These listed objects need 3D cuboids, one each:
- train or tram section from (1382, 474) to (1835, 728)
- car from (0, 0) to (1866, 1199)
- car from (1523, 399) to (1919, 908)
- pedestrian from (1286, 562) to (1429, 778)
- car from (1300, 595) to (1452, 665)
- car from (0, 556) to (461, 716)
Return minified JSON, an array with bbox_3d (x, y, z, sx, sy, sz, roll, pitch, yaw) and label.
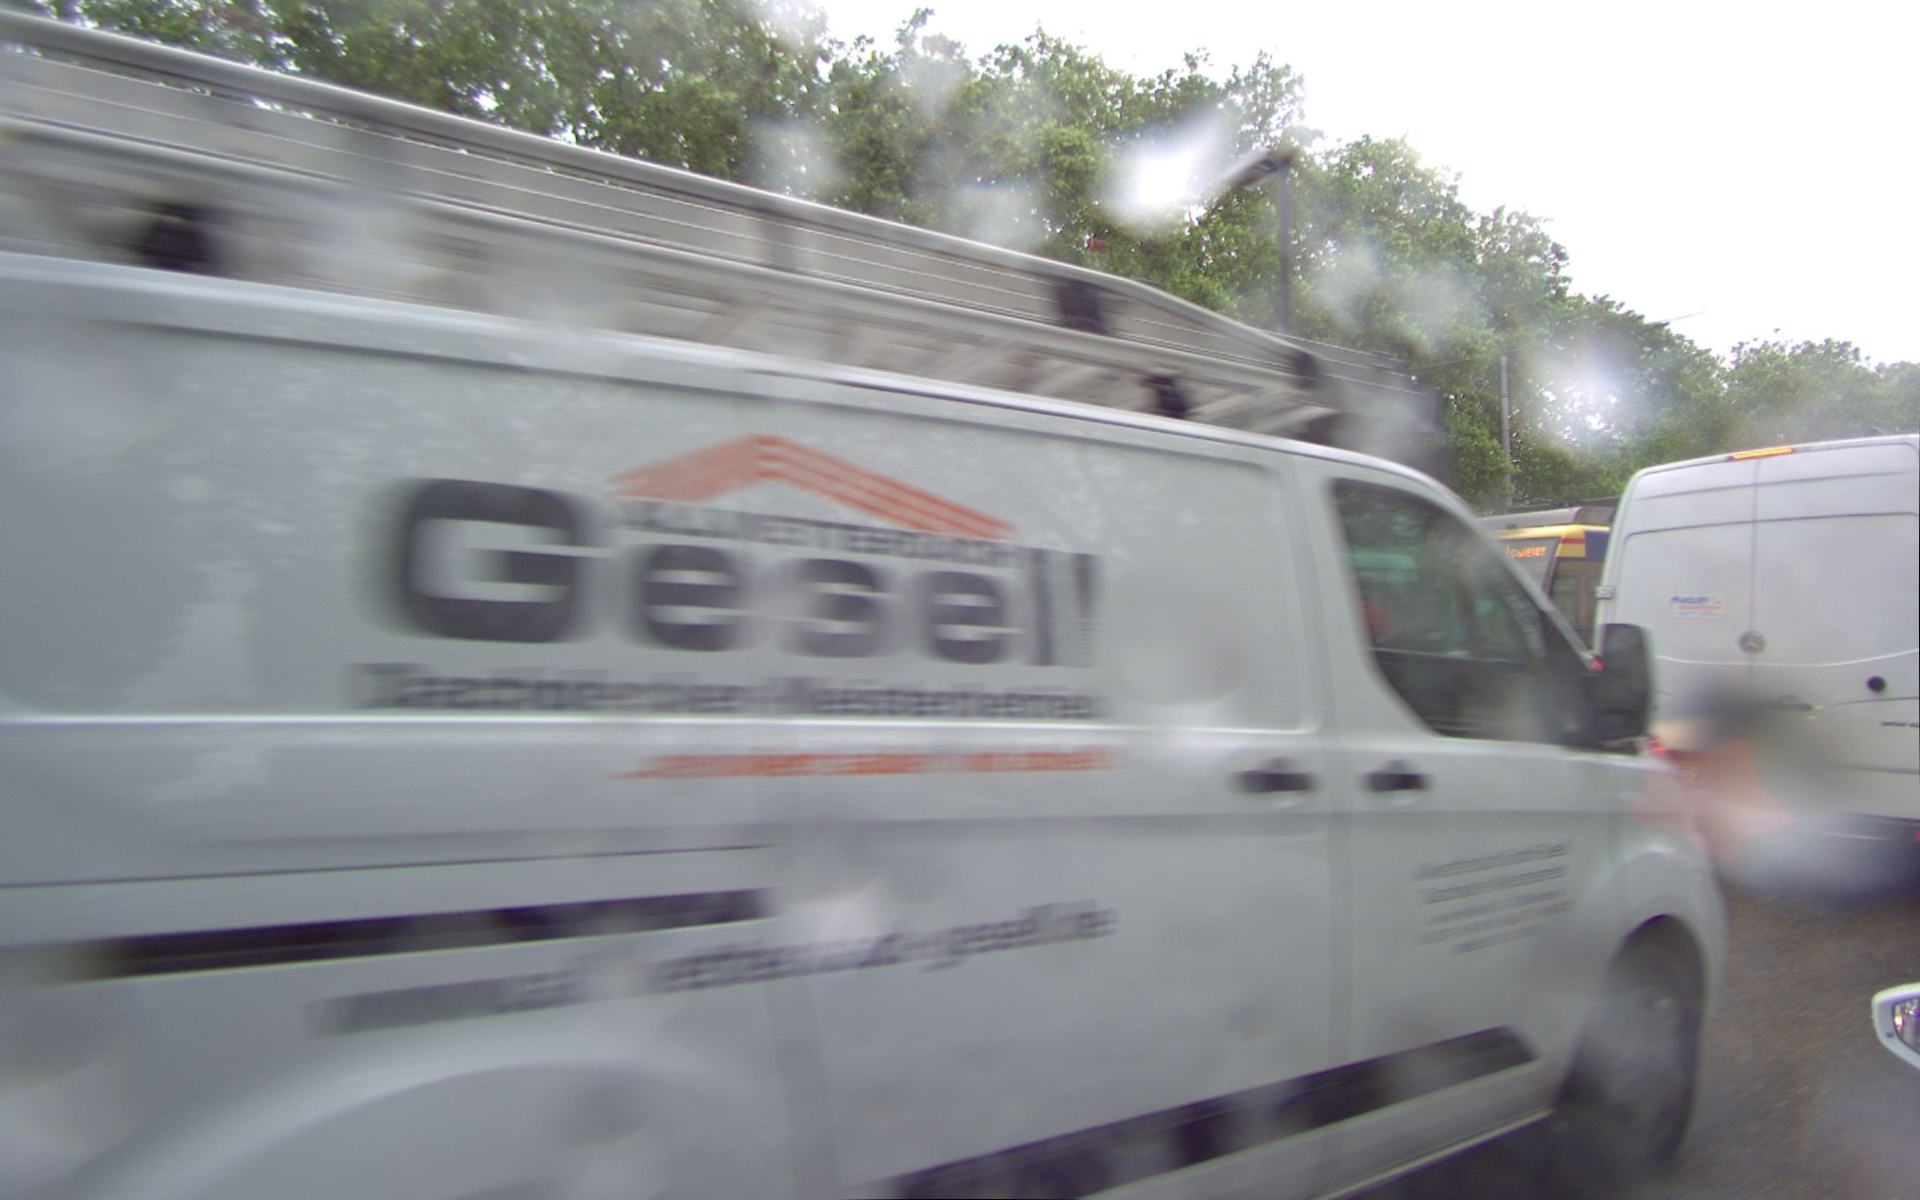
[{"bbox_3d":[10.907,0.083,16.603,8.265,3.329,2.947,0,-2,-32],"label":"train or tram section"},{"bbox_3d":[0.074,0.355,2.657,5.227,2.292,1.984,2,-1,-30],"label":"car"},{"bbox_3d":[7.052,0.373,7.422,6.043,2.591,2.318,2,-1,-30],"label":"car"},{"bbox_3d":[3.396,0.573,8.609,0.762,1.737,0.786,2,0,-31],"label":"pedestrian"},{"bbox_3d":[14.169,1.006,34.136,5.160,2.253,1.985,1,-1,-29],"label":"car"},{"bbox_3d":[-10.869,0.529,14.948,6.043,2.040,2.174,1,-2,-31],"label":"car"}]
